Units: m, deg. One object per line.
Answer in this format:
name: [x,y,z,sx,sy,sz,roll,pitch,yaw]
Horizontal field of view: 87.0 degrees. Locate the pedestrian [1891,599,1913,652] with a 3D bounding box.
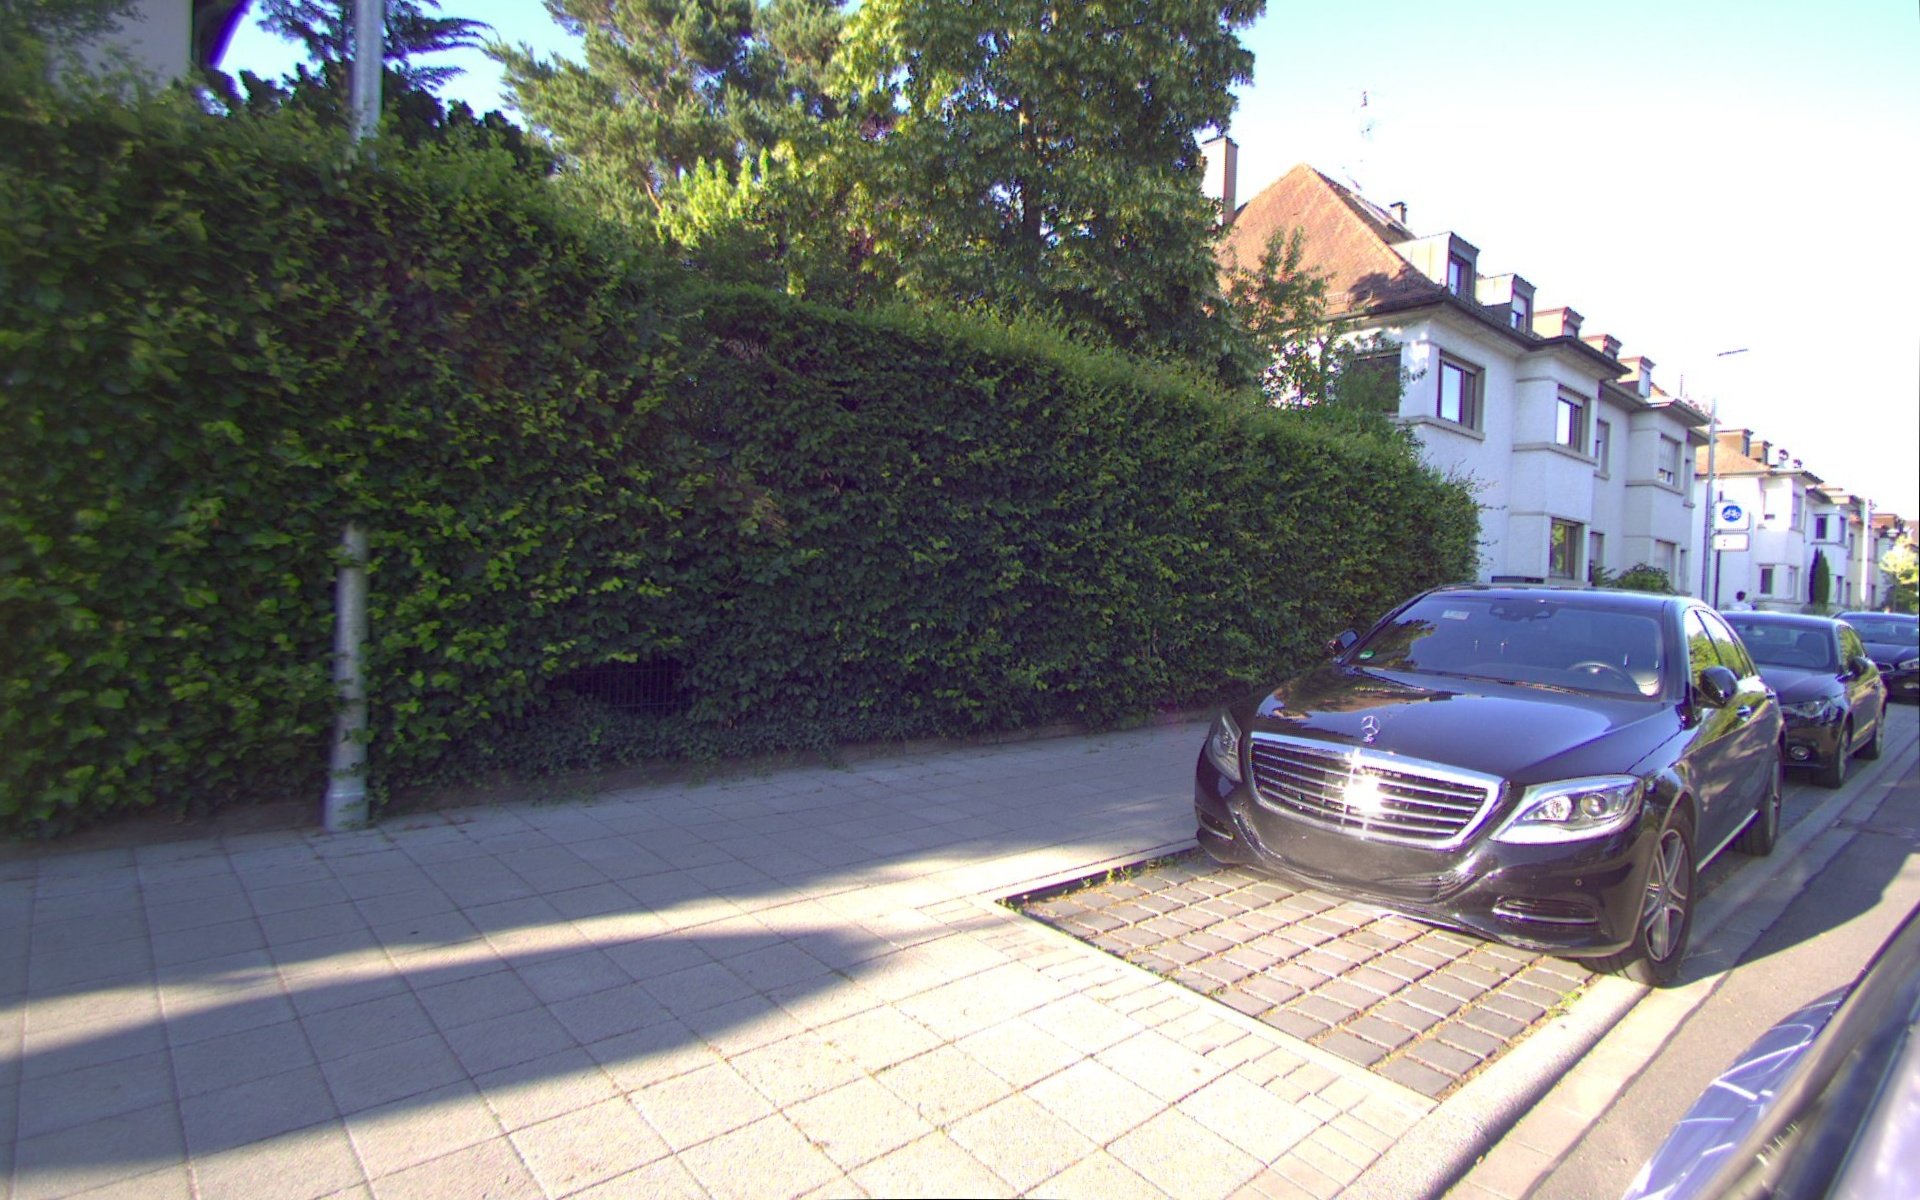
pedestrian: [32.875,0.884,35.330,0.579,1.821,0.530,1,-1,-44]

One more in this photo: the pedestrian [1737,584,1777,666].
pedestrian: [18.656,0.569,23.685,0.809,1.869,0.587,0,0,-41]

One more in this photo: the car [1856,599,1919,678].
car: [20.006,0.789,20.998,3.410,1.554,1.679,1,-1,-41]

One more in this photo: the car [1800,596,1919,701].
car: [15.866,0.778,17.342,4.007,1.616,1.793,1,-1,-43]

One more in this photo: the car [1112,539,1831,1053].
car: [3.107,0.565,5.460,4.835,1.517,2.005,1,3,-45]

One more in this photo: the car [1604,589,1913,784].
car: [7.812,0.683,9.772,3.932,1.496,1.781,1,-1,-43]
